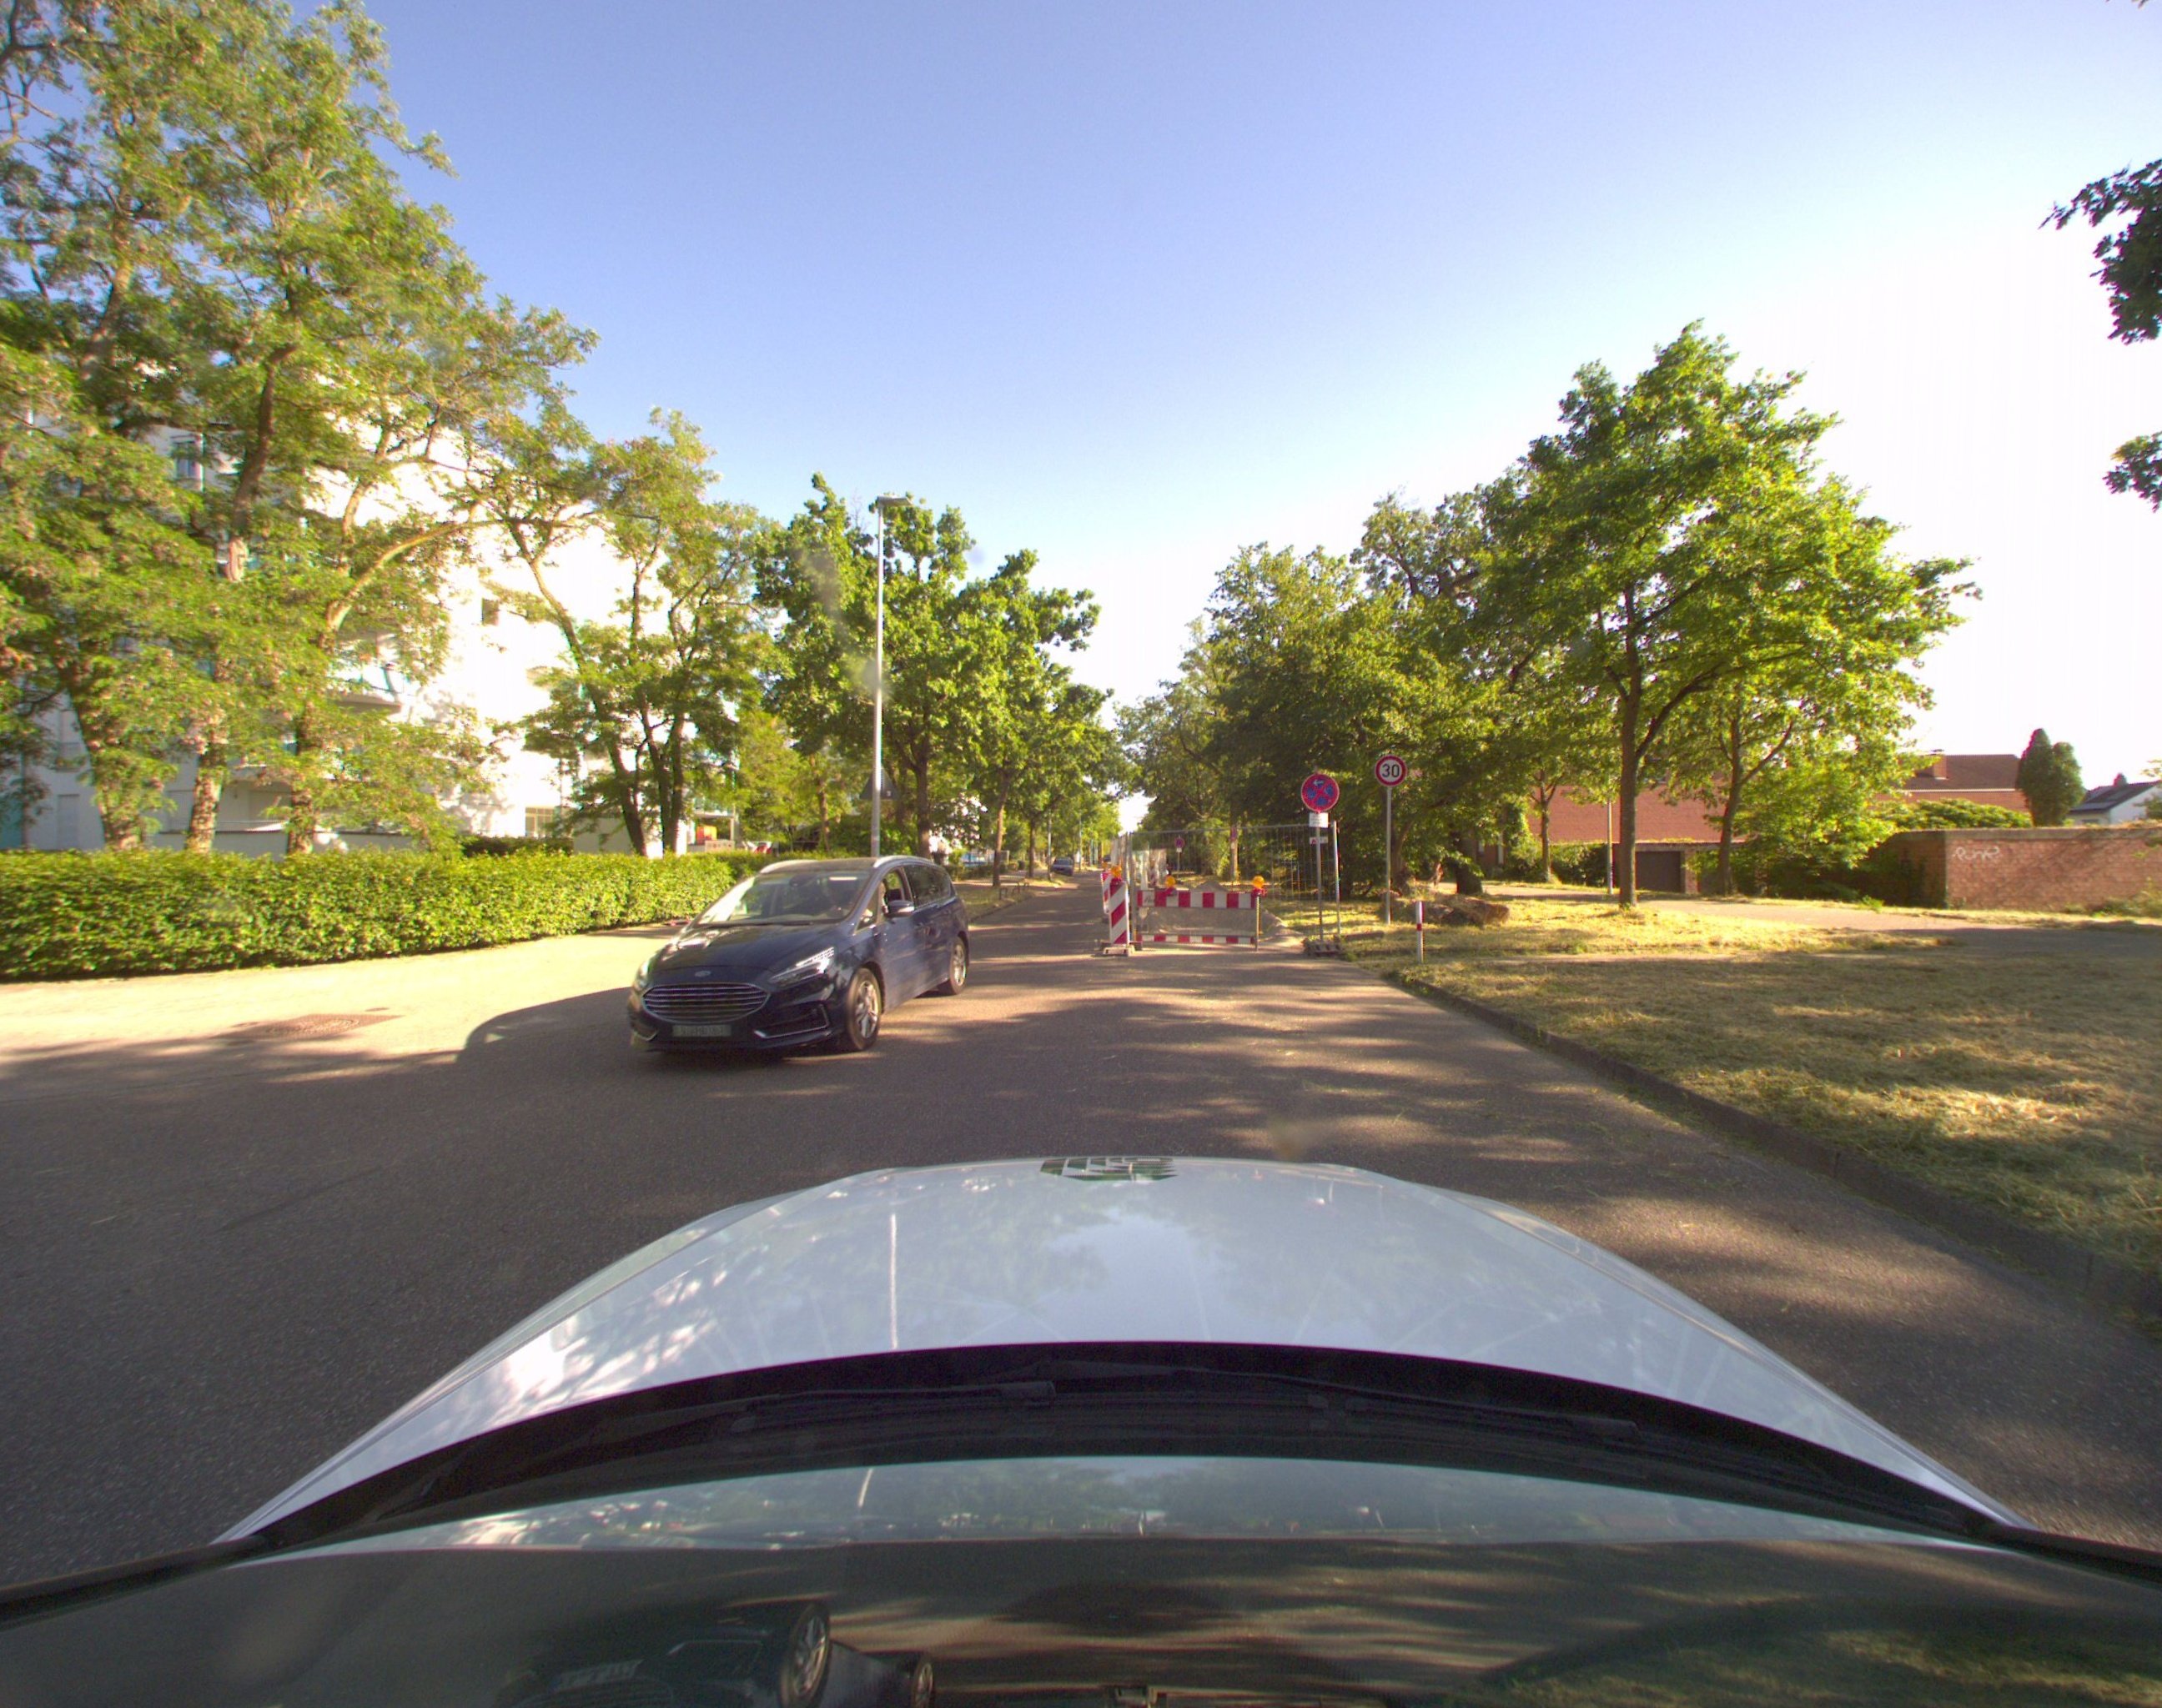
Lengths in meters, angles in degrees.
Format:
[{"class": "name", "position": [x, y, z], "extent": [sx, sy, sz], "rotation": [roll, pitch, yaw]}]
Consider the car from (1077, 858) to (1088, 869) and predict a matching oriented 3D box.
[{"class": "car", "position": [0.241, 1.199, 103.392], "extent": [1.356, 1.302, 3.481], "rotation": [1, -1, 1]}]

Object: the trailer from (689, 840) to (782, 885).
[{"class": "trailer", "position": [-16.442, 0.382, 39.011], "extent": [1.964, 2.043, 4.442], "rotation": [0, 0, 10]}]

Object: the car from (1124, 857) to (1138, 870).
[{"class": "car", "position": [5.527, 1.063, 90.608], "extent": [1.356, 1.302, 3.481], "rotation": [1, -1, 1]}]

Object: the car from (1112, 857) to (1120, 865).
[{"class": "car", "position": [7.657, 1.514, 178.751], "extent": [1.705, 1.585, 3.998], "rotation": [1, -1, 0]}]

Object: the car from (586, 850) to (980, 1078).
[{"class": "car", "position": [-2.486, 0.822, 8.211], "extent": [1.812, 1.625, 4.501], "rotation": [-2, 0, 7]}]

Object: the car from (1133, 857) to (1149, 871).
[{"class": "car", "position": [5.698, 0.991, 77.614], "extent": [1.356, 1.302, 3.481], "rotation": [1, -1, 1]}]

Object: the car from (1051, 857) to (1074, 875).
[{"class": "car", "position": [-1.526, 0.981, 68.330], "extent": [1.744, 1.478, 3.838], "rotation": [0, 0, 2]}]
